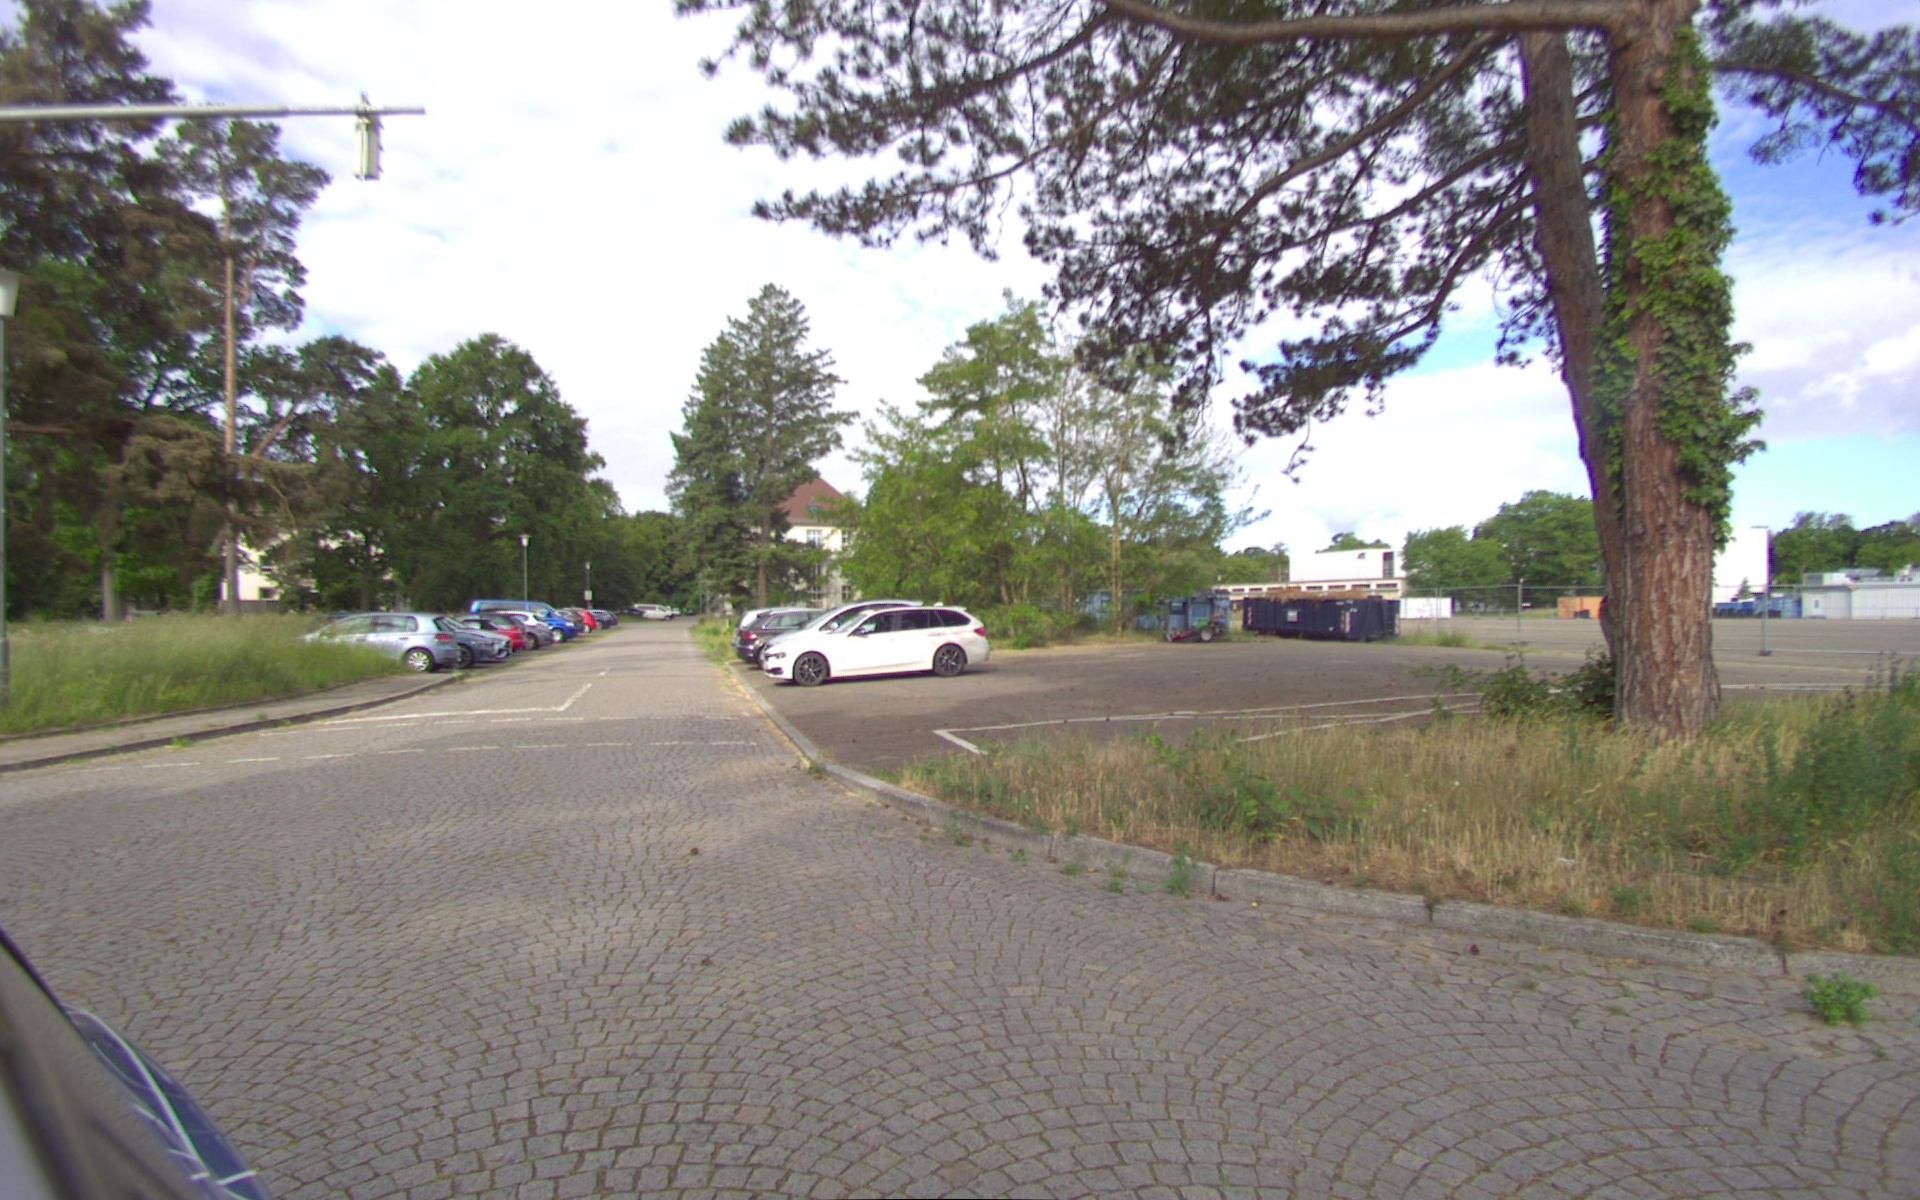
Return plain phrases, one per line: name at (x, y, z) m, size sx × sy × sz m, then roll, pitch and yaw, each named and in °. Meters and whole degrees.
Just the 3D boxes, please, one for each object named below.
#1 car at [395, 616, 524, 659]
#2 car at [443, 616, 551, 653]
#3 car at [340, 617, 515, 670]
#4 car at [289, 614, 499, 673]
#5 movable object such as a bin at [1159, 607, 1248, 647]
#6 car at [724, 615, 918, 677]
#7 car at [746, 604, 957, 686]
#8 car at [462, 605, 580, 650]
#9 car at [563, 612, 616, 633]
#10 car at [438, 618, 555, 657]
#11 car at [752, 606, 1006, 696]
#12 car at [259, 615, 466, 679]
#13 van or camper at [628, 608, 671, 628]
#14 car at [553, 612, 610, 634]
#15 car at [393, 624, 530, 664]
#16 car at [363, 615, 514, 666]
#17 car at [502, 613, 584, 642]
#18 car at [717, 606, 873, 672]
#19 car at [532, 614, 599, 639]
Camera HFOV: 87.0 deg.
car at (-17.984, 1.324, 36.553) m, size 3.870 × 1.487 × 1.801 m, roll 0°, pitch -1°, yaw -14°
car at (-19.239, 1.413, 42.208) m, size 3.869 × 1.460 × 1.802 m, roll 0°, pitch -1°, yaw -15°
car at (-15.407, 1.230, 29.522) m, size 4.199 × 1.456 × 1.801 m, roll 0°, pitch -1°, yaw -12°
car at (-14.857, 1.113, 26.846) m, size 4.555 × 1.456 × 1.802 m, roll 0°, pitch -1°, yaw -15°
movable object such as a bin at (7.773, 0.851, 32.380) m, size 2.496 × 1.221 × 1.174 m, roll 0°, pitch 0°, yaw -16°
car at (-3.516, 1.102, 25.421) m, size 4.555 × 1.433 × 1.891 m, roll 0°, pitch -1°, yaw -18°
car at (-2.473, 0.962, 22.905) m, size 4.410 × 1.602 × 1.853 m, roll -2°, pitch 0°, yaw -19°
car at (-20.415, 1.276, 47.275) m, size 4.765 × 2.029 × 2.004 m, roll 0°, pitch -1°, yaw -11°
car at (-29.326, 1.768, 80.203) m, size 3.730 × 1.637 × 2.005 m, roll 0°, pitch -1°, yaw -13°
car at (-17.932, 1.420, 39.333) m, size 3.869 × 1.446 × 1.802 m, roll 0°, pitch -1°, yaw -15°
car at (-1.665, 0.961, 20.415) m, size 4.739 × 1.450 × 1.919 m, roll -3°, pitch 0°, yaw -17°
car at (-14.178, 1.092, 24.252) m, size 3.933 × 1.429 × 1.801 m, roll 0°, pitch -1°, yaw -14°
van or camper at (-39.346, 2.260, 128.418) m, size 5.161 × 2.482 × 2.216 m, roll 0°, pitch -1°, yaw -17°
car at (-28.319, 1.726, 75.822) m, size 3.730 × 1.581 × 2.005 m, roll 0°, pitch -1°, yaw -13°
car at (-16.730, 1.470, 34.134) m, size 3.870 × 1.244 × 1.801 m, roll 0°, pitch -1°, yaw -14°
car at (-16.235, 1.239, 31.709) m, size 3.870 × 1.524 × 1.801 m, roll 0°, pitch -1°, yaw -12°
car at (-22.945, 1.499, 55.869) m, size 3.933 × 1.516 × 1.874 m, roll 0°, pitch -1°, yaw -13°
car at (-4.572, 1.037, 27.961) m, size 3.919 × 1.467 × 1.686 m, roll -4°, pitch 1°, yaw -19°
car at (-25.617, 1.682, 65.840) m, size 3.931 × 1.581 × 2.006 m, roll 0°, pitch -1°, yaw -18°
